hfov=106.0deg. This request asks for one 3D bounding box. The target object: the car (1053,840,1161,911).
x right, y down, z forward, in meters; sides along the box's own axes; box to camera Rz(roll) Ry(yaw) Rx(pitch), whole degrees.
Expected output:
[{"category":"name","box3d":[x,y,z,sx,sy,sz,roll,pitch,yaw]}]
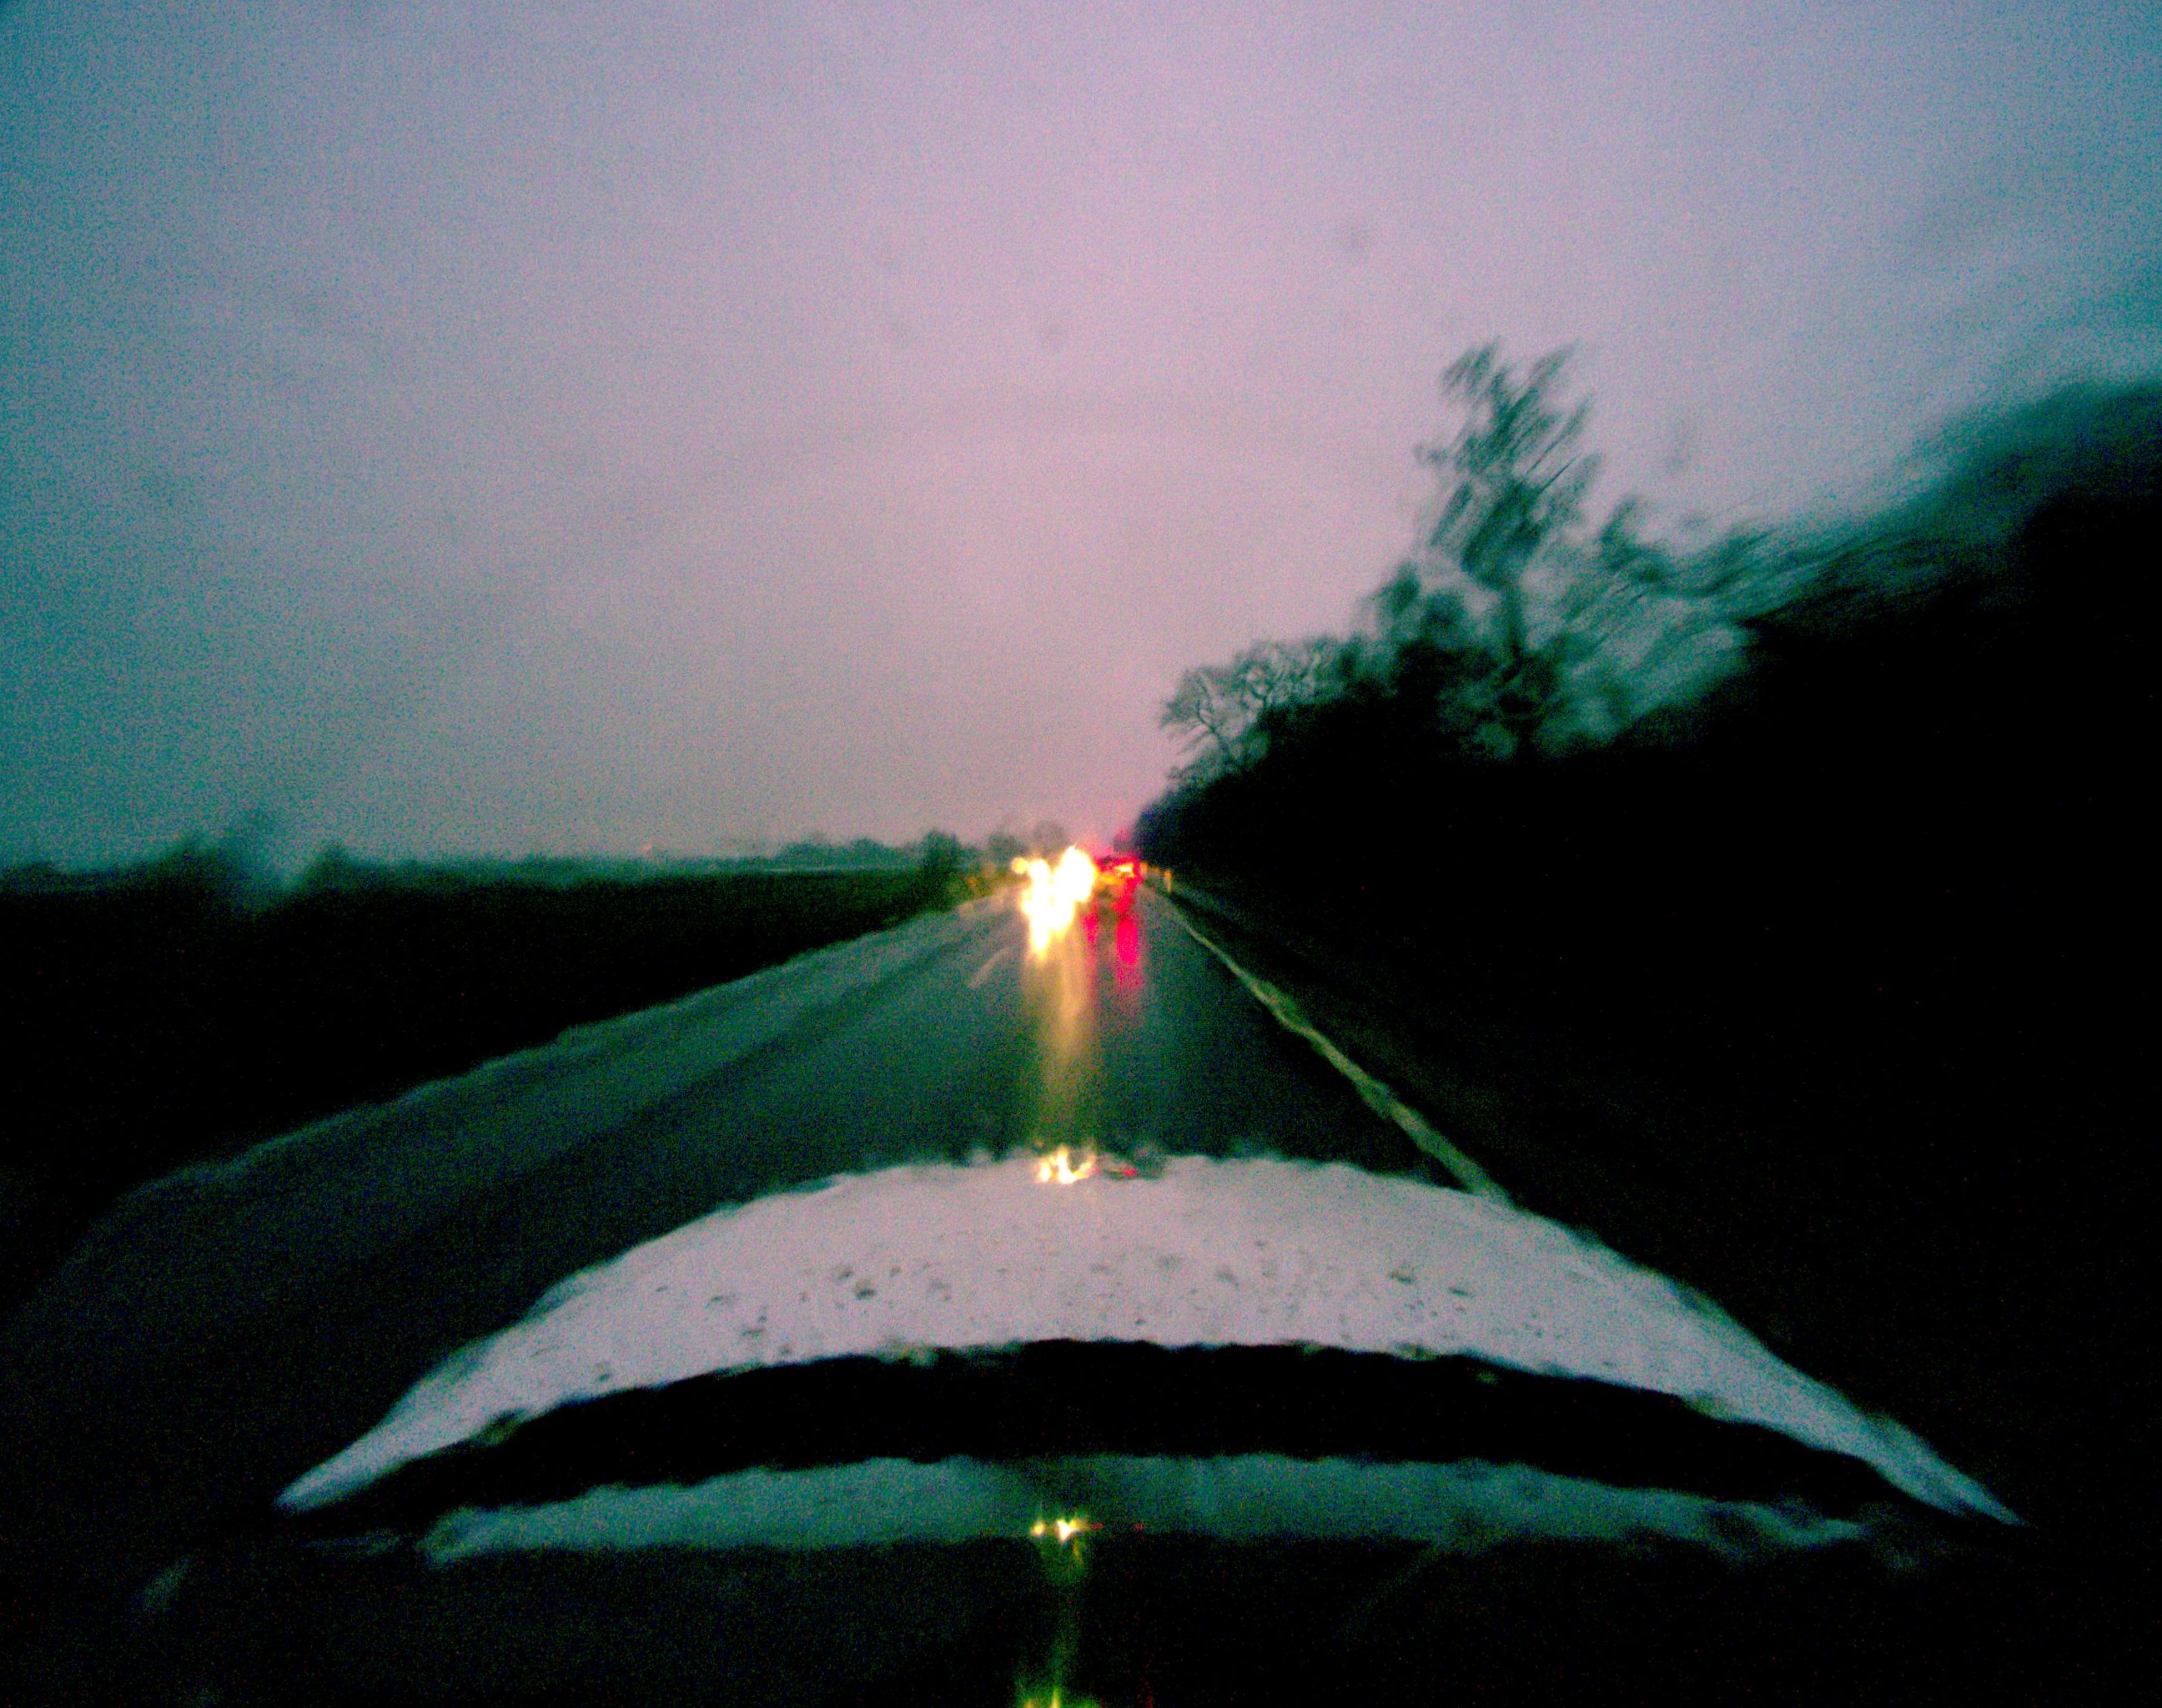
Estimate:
[{"category":"car","box3d":[0.900,0.644,27.842,3.152,2.035,6.854,-2,0,2]}]

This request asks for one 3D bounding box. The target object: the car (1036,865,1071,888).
[{"category":"car","box3d":[-1.748,1.450,52.652,1.986,1.372,4.399,-1,-1,2]}]

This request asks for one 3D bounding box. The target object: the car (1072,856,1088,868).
[{"category":"car","box3d":[-0.117,1.116,114.032,1.986,1.463,4.353,-5,-1,1]}]

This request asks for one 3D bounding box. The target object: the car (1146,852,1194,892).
[{"category":"car","box3d":[4.159,0.830,38.525,1.921,1.750,4.001,-1,-1,2]}]
